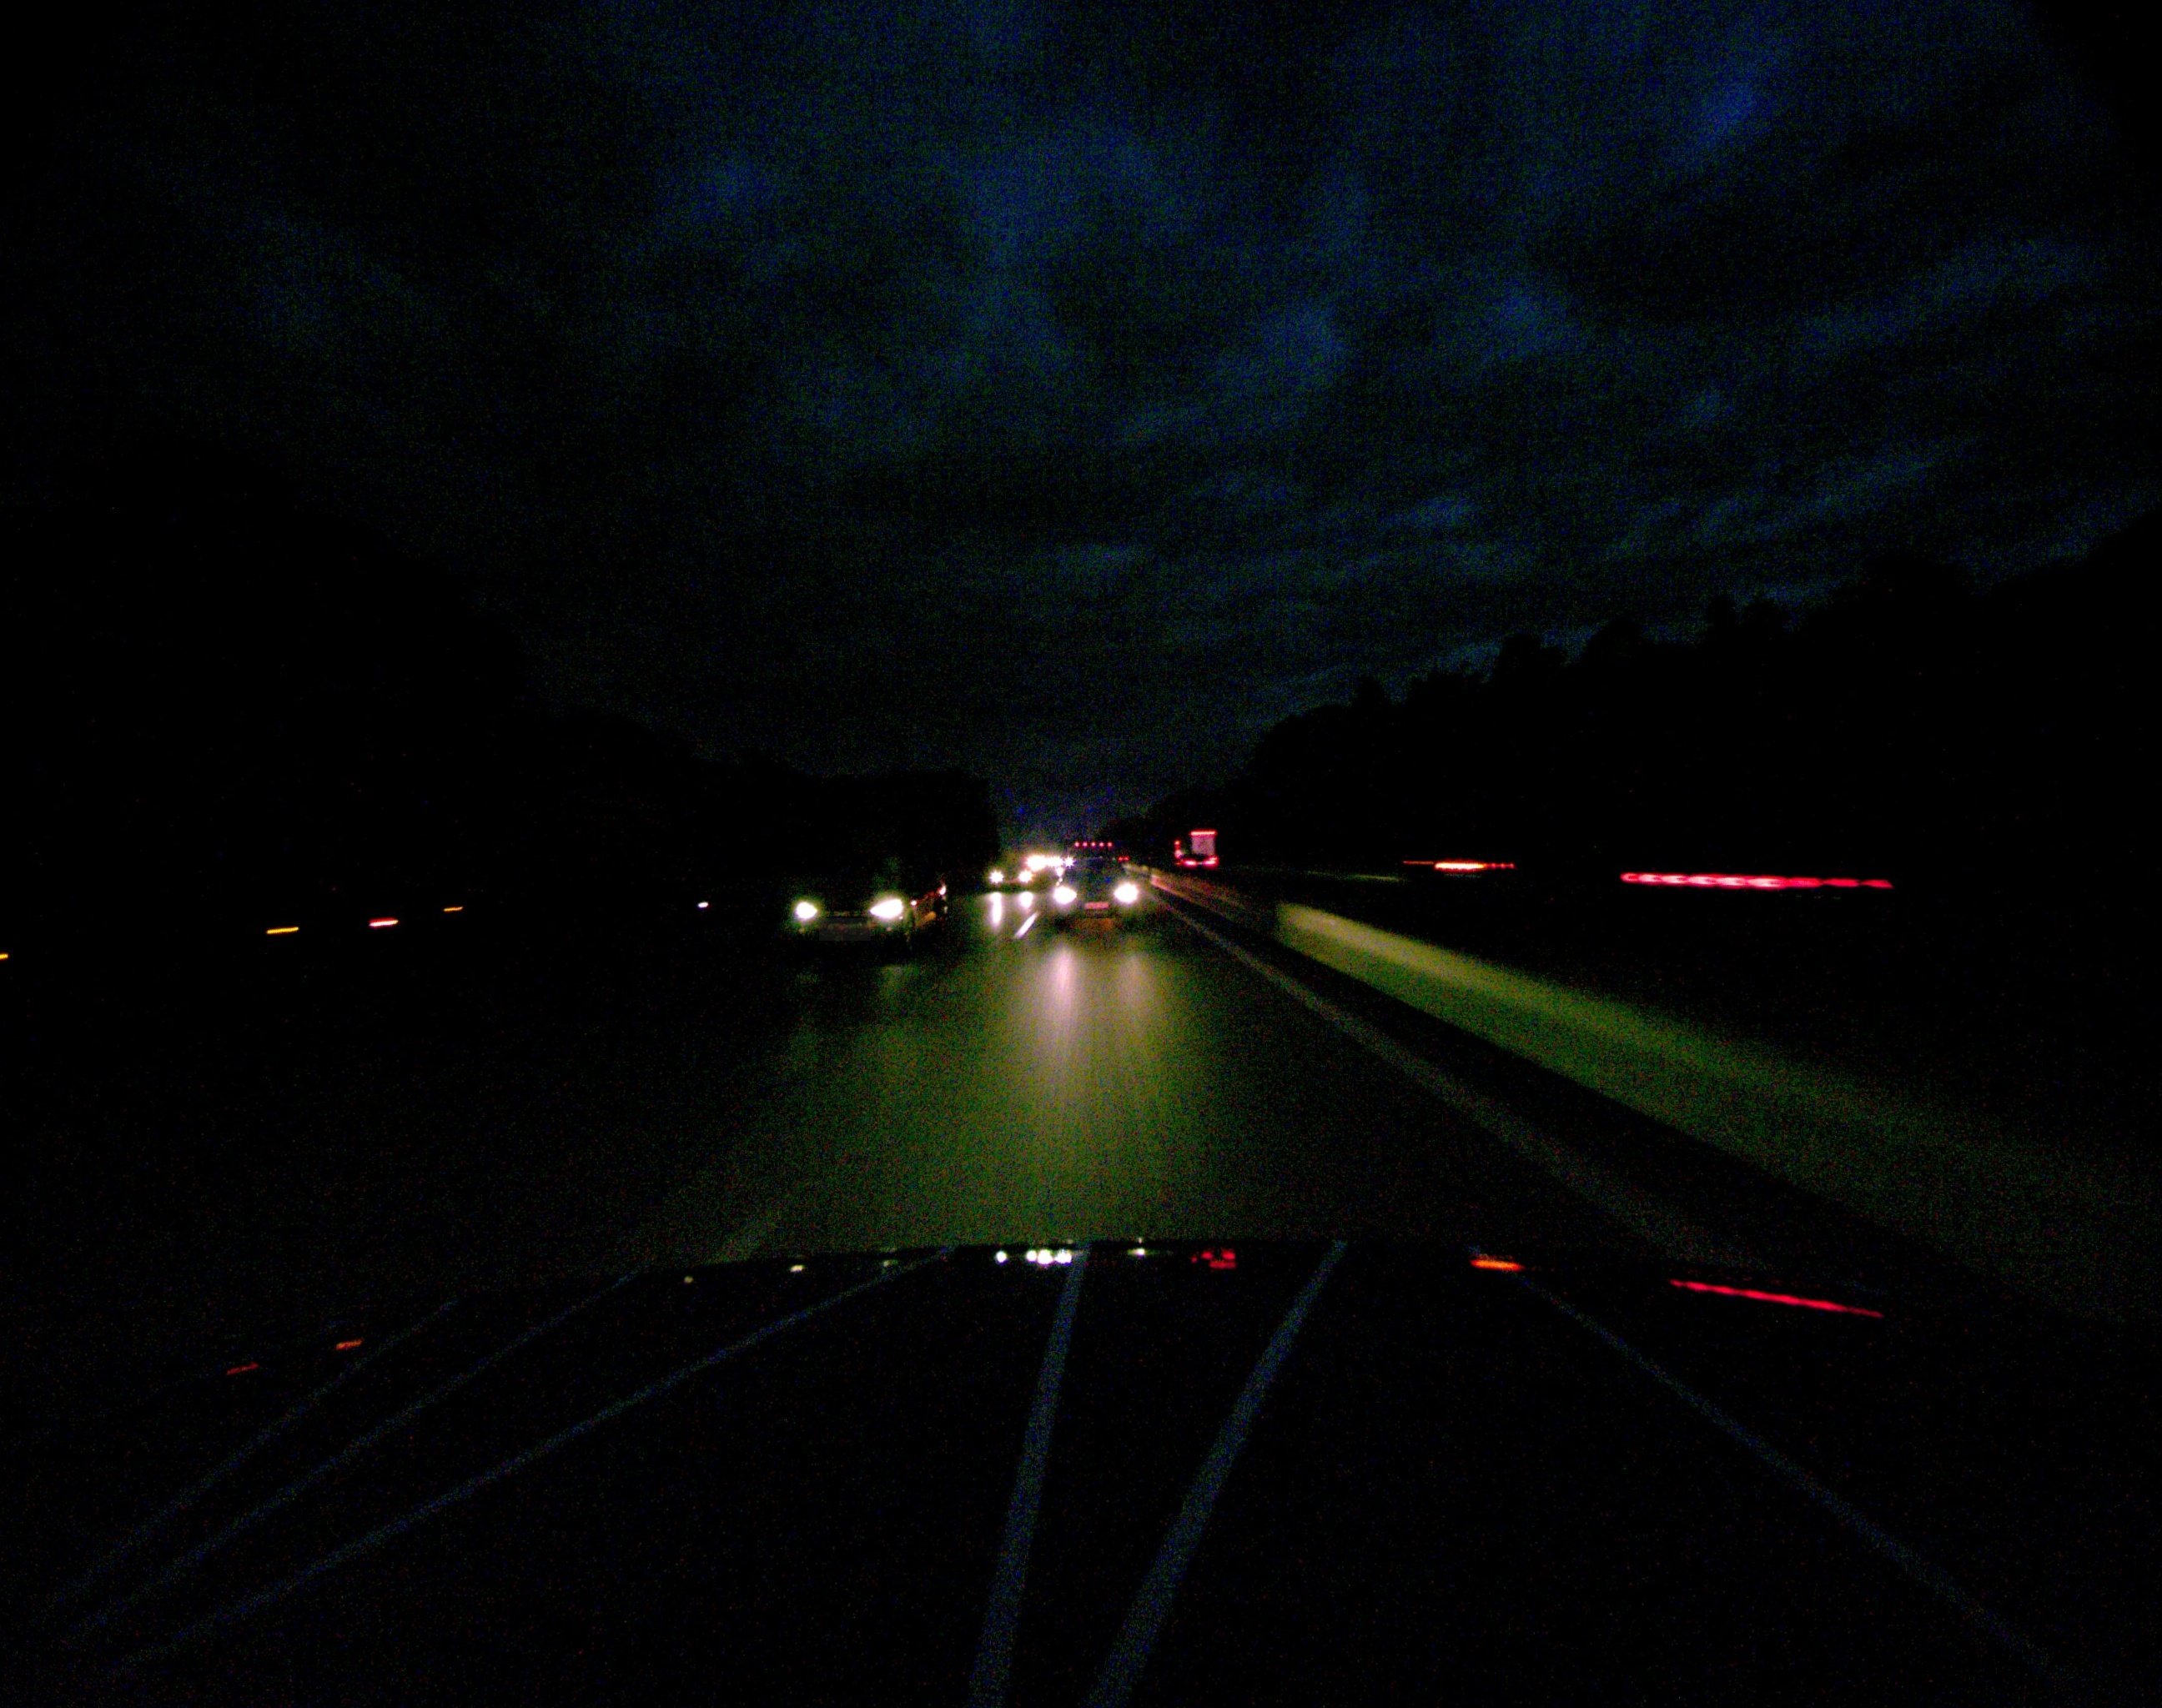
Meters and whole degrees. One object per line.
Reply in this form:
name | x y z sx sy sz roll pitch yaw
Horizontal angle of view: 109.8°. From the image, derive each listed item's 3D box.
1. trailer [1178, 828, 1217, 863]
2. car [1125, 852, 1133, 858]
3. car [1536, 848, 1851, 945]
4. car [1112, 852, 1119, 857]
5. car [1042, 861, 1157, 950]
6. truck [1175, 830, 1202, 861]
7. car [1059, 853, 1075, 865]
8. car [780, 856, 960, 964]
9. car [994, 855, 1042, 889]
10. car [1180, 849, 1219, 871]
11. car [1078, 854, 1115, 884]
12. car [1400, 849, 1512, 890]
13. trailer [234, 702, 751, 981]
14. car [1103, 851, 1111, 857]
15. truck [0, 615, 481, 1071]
trailer | 14.802 -1.073 97.717 2.656 4.107 14.324 -1 0 0
car | 11.666 0.199 185.059 1.781 1.393 4.939 -2 0 0
car | 10.534 0.623 13.685 1.853 1.406 4.790 -1 0 1
car | 10.508 0.010 230.305 1.759 1.420 5.362 -2 0 0
car | 0.416 0.883 14.845 1.879 1.435 4.452 -1 -1 3
truck | 14.746 -1.107 104.569 2.656 4.107 6.523 -1 0 -1
car | -2.000 0.710 107.338 1.999 1.539 3.999 -1 -2 -6
car | -3.688 0.882 14.339 1.908 1.634 5.052 0 0 1
car | -3.084 0.852 38.133 1.914 1.528 5.230 -1 1 1
car | 8.241 0.401 53.106 1.998 1.416 5.145 -1 0 1
car | 0.961 0.835 44.499 1.813 1.458 5.132 -1 2 5
car | 14.521 0.555 29.764 1.917 1.416 4.746 -1 0 -1
trailer | -10.985 -0.197 16.467 2.914 4.076 10.357 -1 0 1
car | 7.049 -0.002 209.396 1.998 1.393 4.687 -2 0 0
truck | -11.117 -0.073 6.656 2.892 4.076 10.831 -1 0 1
